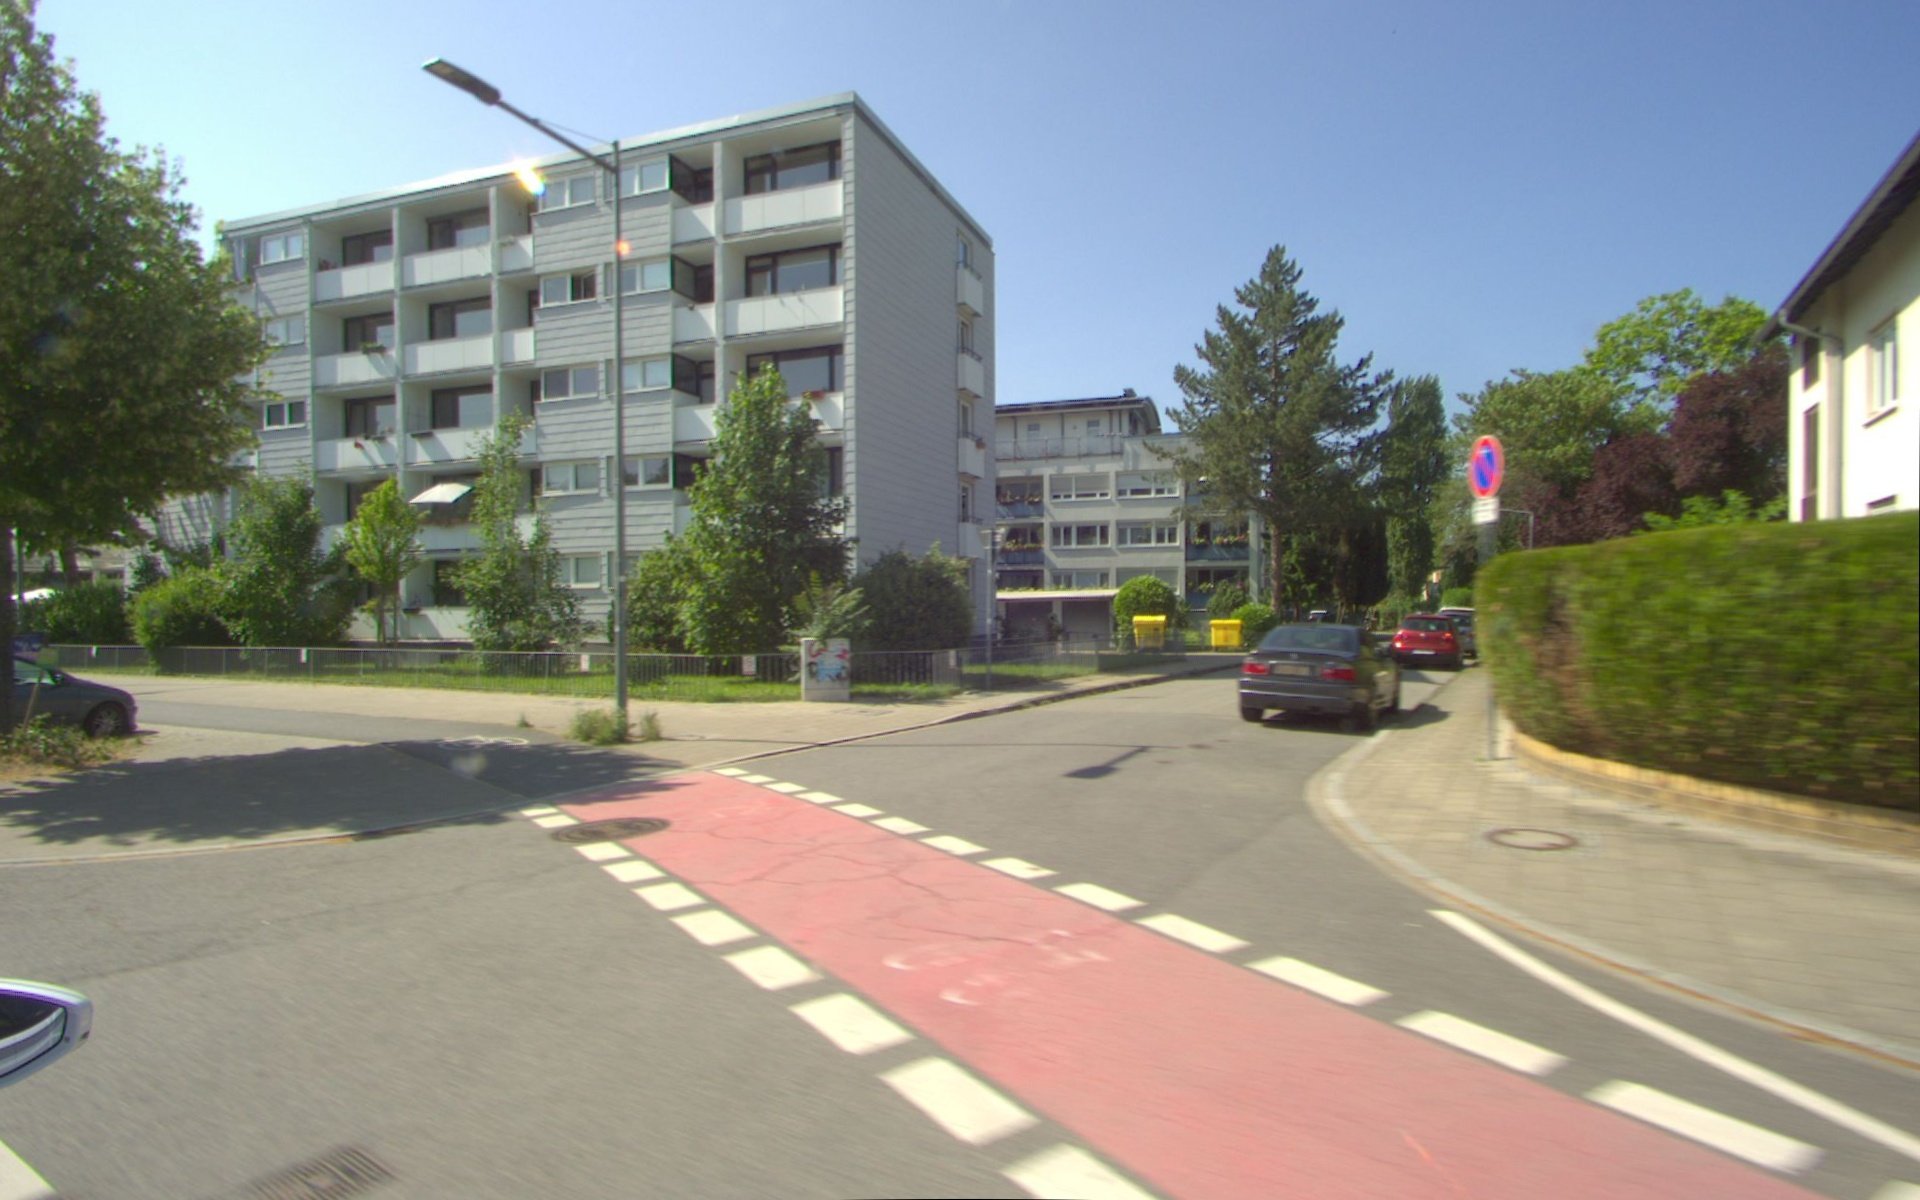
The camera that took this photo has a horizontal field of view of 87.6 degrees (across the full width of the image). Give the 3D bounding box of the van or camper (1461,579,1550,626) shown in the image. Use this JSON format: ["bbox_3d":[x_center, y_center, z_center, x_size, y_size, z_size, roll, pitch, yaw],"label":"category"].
[{"bbox_3d":[42.315,0.261,78.104,3.085,3.424,10.548,0,-1,11],"label":"van or camper"}]

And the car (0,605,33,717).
[{"bbox_3d":[-15.209,0.882,13.341,2.005,1.661,4.120,0,-1,-3],"label":"car"}]

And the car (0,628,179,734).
[{"bbox_3d":[-12.471,1.012,12.747,1.719,1.252,4.000,0,-1,5],"label":"car"}]

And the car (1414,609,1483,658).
[{"bbox_3d":[16.756,1.088,34.263,1.888,1.525,3.982,1,0,29],"label":"car"}]

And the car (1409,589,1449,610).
[{"bbox_3d":[48.069,-0.003,102.728,2.563,2.040,5.742,0,-1,13],"label":"car"}]

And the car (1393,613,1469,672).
[{"bbox_3d":[13.195,1.130,27.944,1.623,1.475,3.982,1,0,29],"label":"car"}]

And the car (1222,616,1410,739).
[{"bbox_3d":[5.340,1.000,14.683,1.783,1.417,4.109,3,1,31],"label":"car"}]

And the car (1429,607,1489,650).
[{"bbox_3d":[19.554,1.079,39.177,1.888,1.577,3.982,1,0,29],"label":"car"}]

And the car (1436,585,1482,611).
[{"bbox_3d":[46.865,-0.126,94.123,2.563,2.319,5.742,0,-1,13],"label":"car"}]
